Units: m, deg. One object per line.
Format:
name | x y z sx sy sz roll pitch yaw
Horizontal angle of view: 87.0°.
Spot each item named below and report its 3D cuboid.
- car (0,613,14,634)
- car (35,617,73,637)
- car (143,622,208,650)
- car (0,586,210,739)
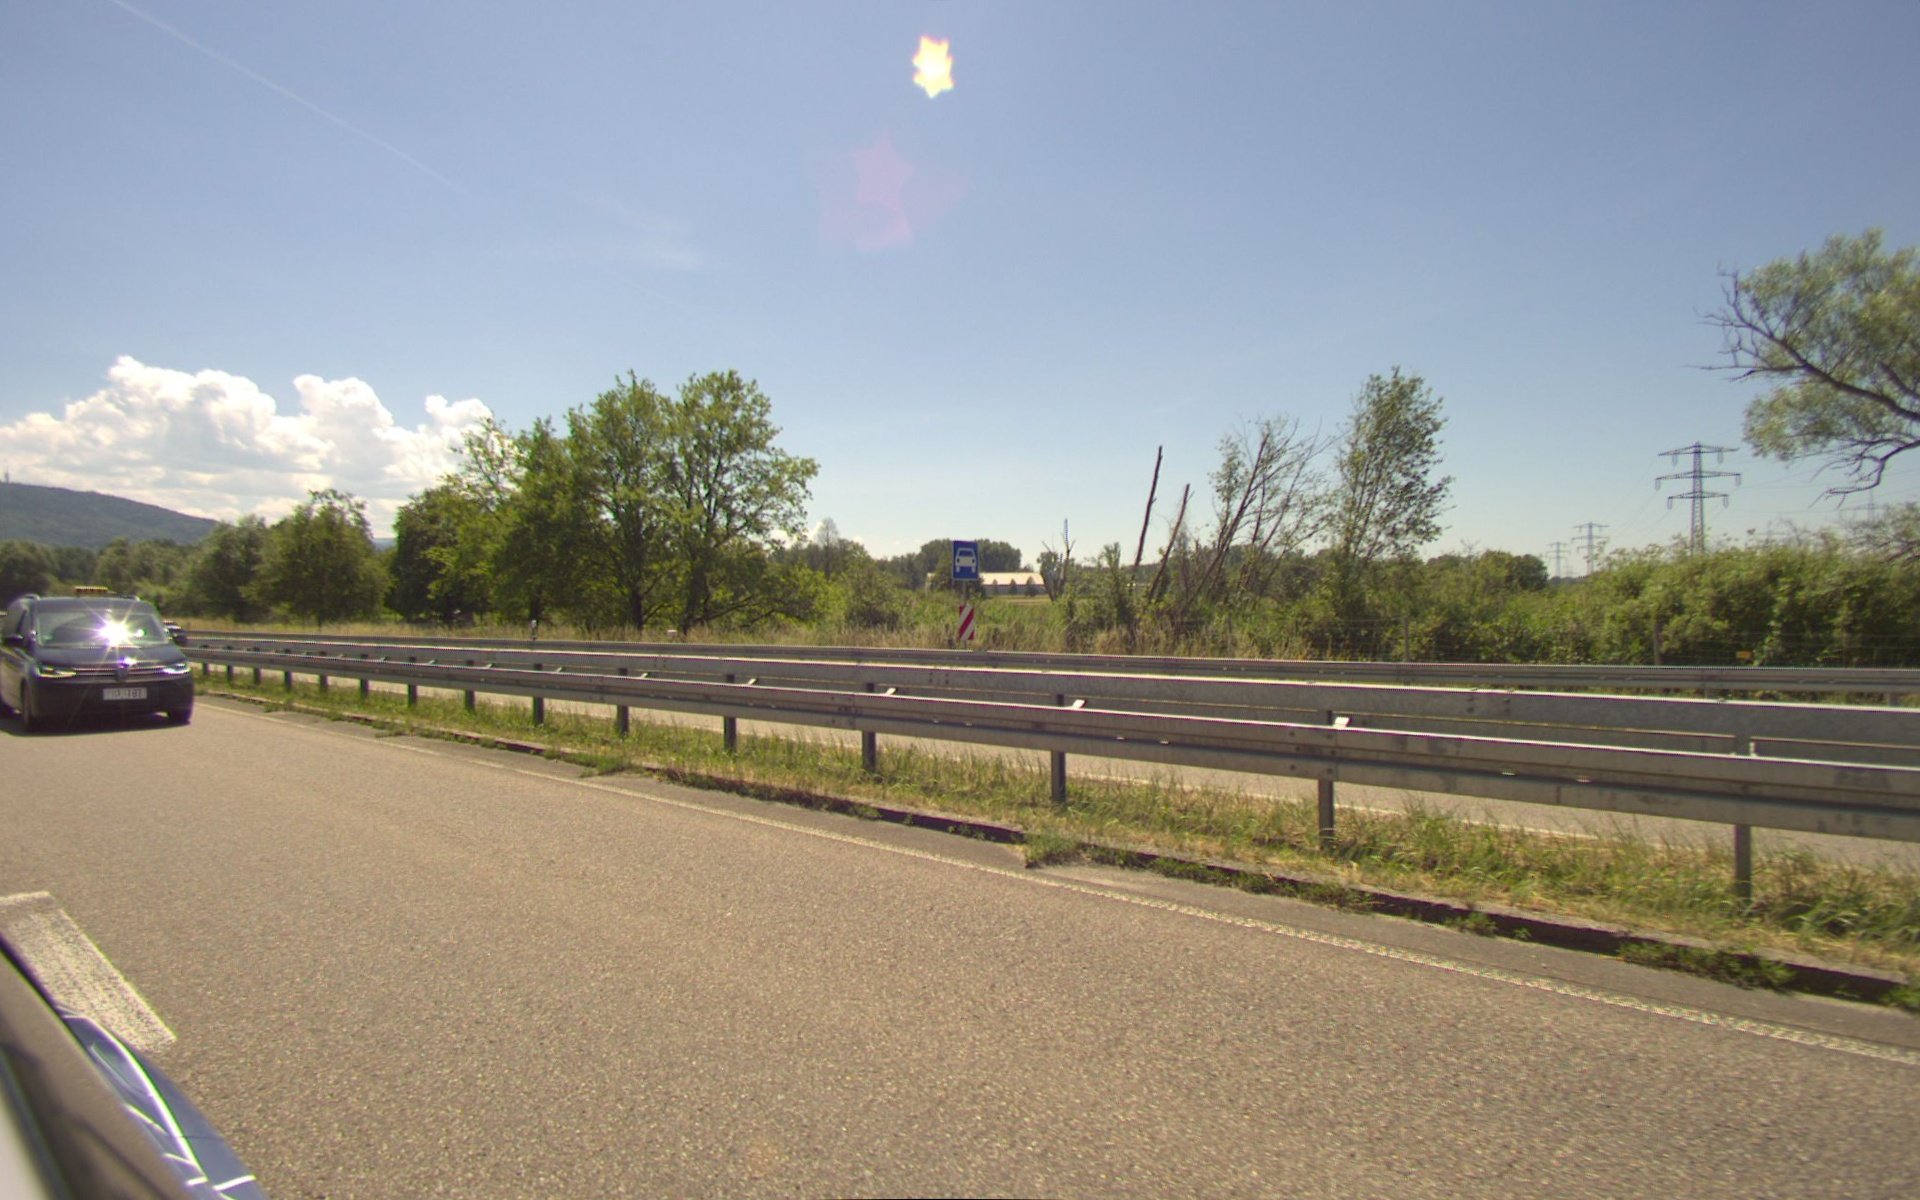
car | -82.487 2.032 86.413 4.966 1.821 1.959 -2 -2 41
car | -74.293 2.203 82.979 4.168 1.630 1.823 -2 -2 41
car | -40.977 1.887 52.823 4.656 1.395 1.904 -2 -2 42
car | -13.068 0.837 15.030 5.568 1.901 1.836 -1 -2 40
